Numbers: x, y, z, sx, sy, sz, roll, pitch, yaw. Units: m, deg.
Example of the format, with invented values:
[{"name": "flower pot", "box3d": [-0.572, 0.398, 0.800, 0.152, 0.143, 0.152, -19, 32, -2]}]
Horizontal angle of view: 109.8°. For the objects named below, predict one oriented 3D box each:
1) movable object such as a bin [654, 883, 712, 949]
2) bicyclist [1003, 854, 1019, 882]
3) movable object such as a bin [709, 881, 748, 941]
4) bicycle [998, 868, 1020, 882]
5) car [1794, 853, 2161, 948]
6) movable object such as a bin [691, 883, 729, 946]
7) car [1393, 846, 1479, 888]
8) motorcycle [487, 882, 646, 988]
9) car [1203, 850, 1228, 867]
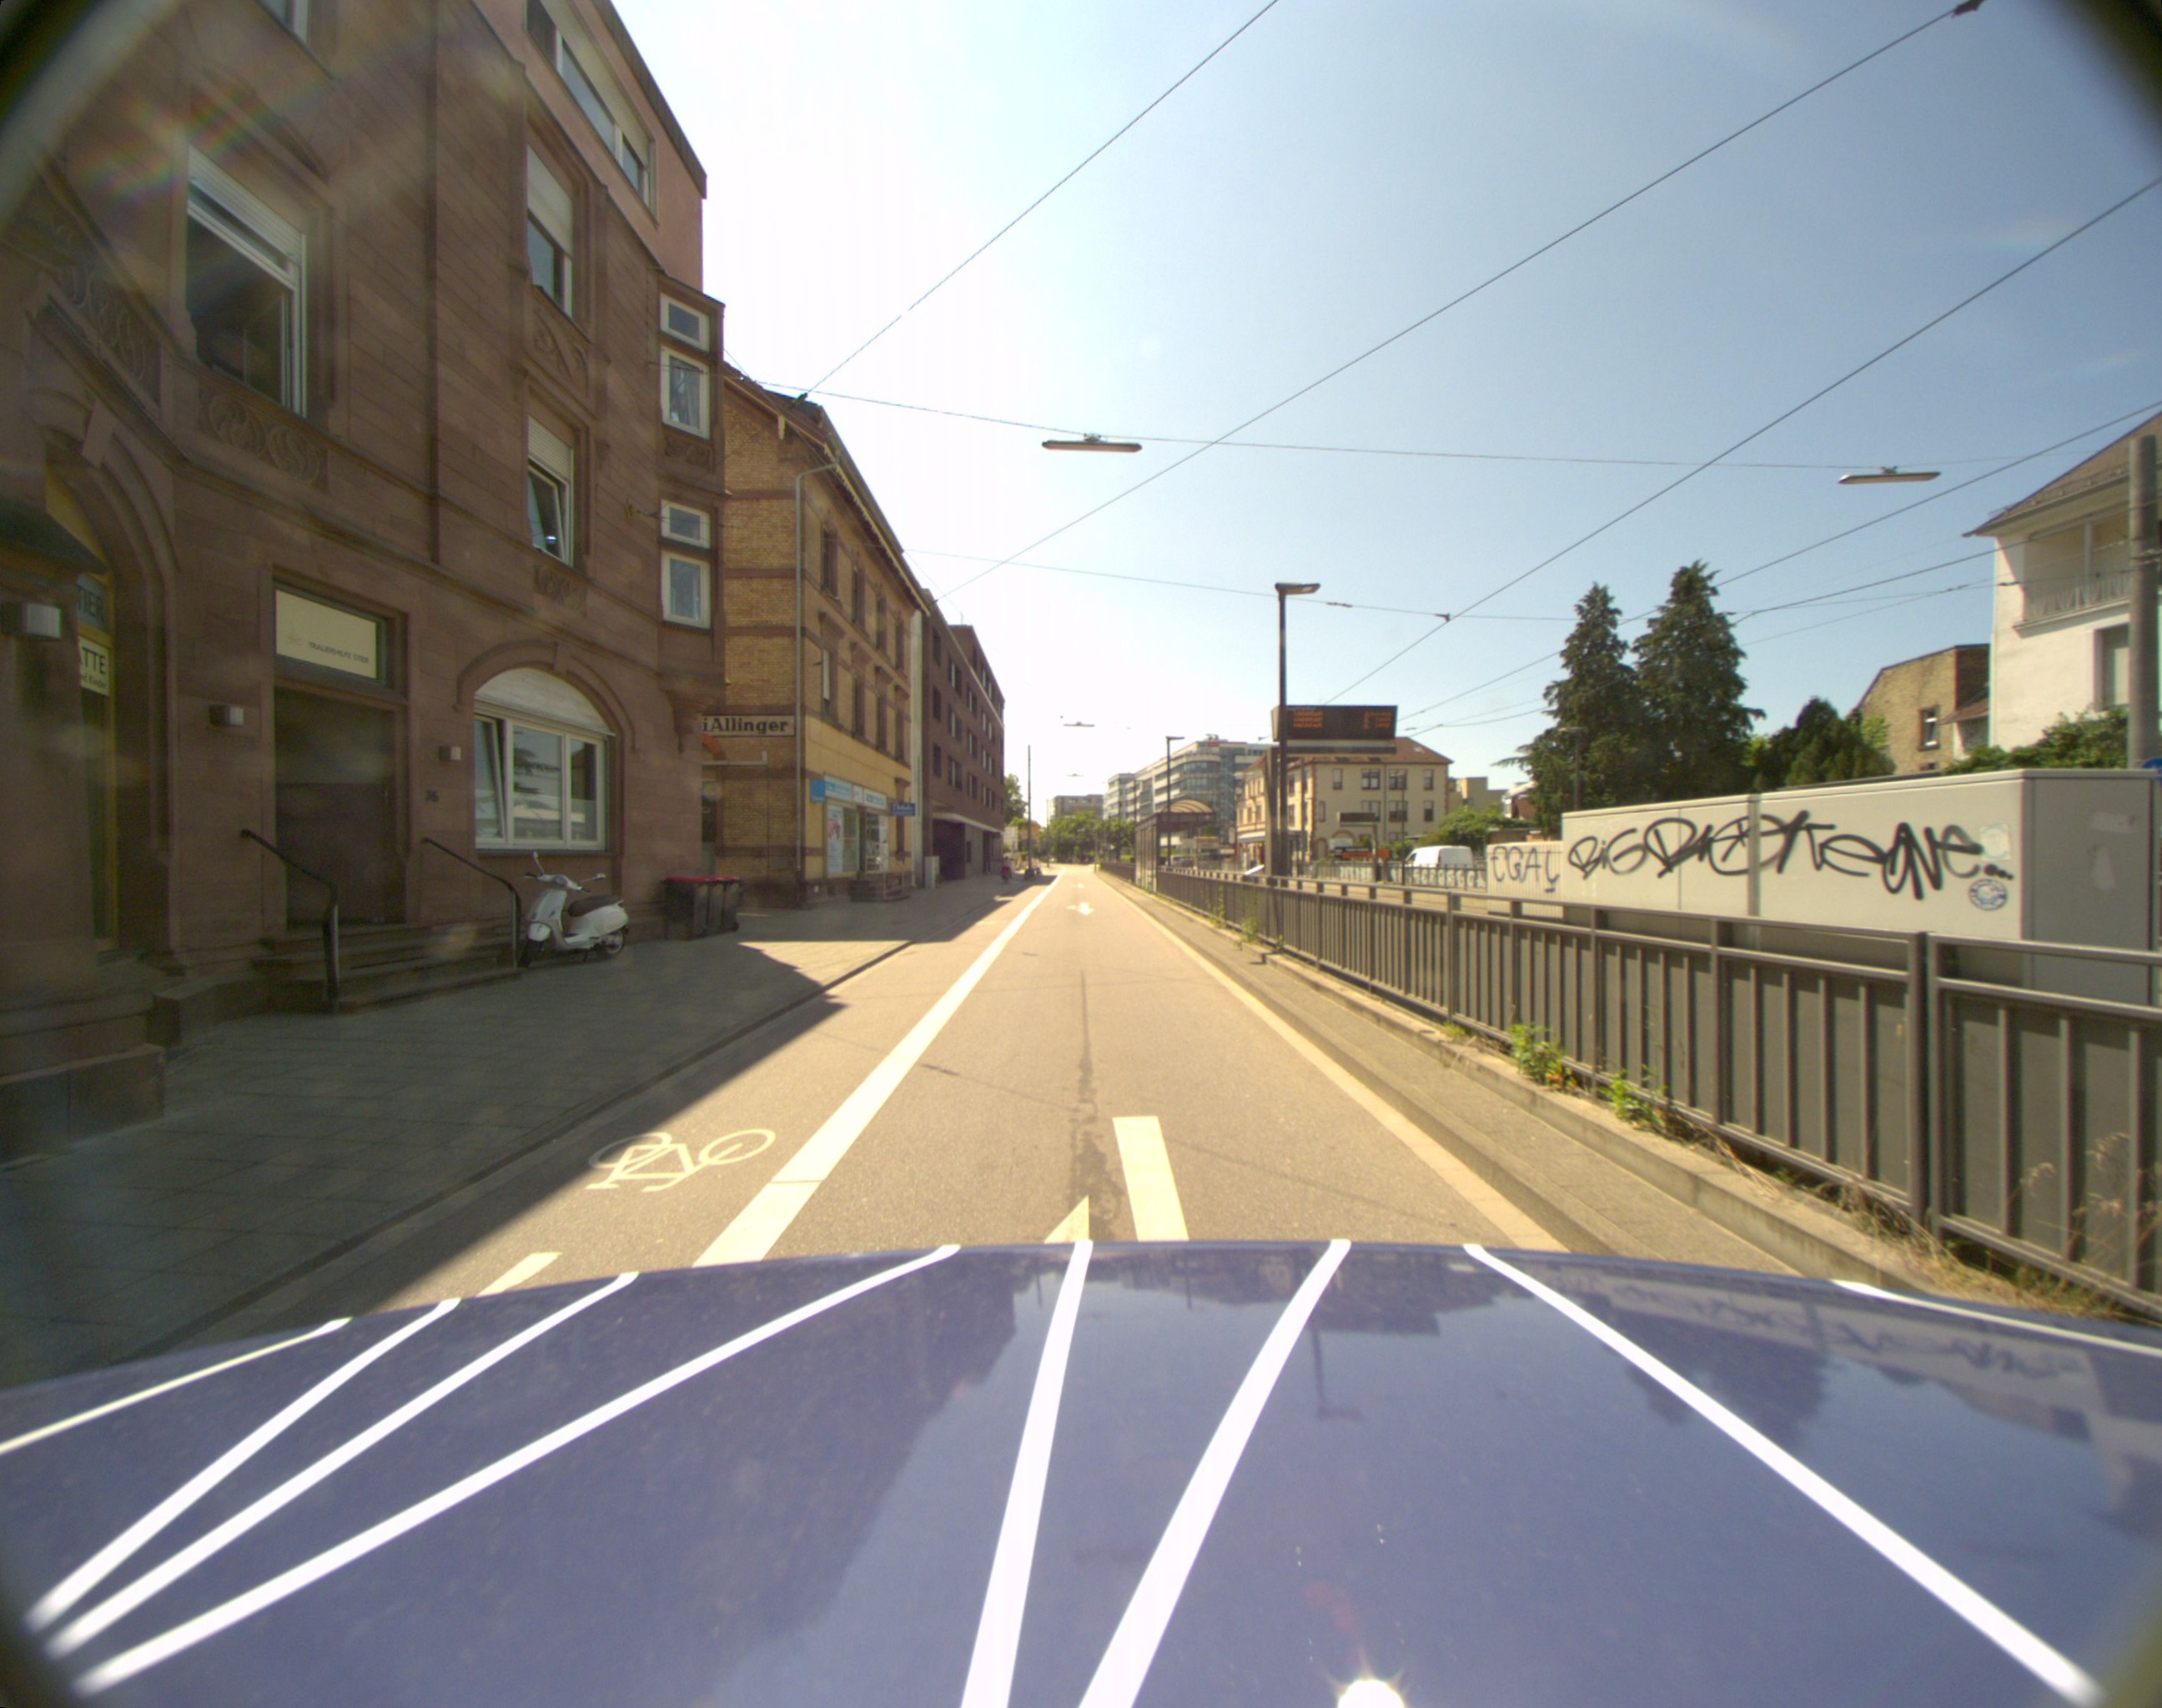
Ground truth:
[{"name": "movable object such as a bin", "box3d": [-6.689, 1.034, 12.799, 0.649, 1.042, 0.559, 2, 0, -1]}, {"name": "bicyclist", "box3d": [-4.332, 0.853, 46.829, 0.670, 1.712, 0.929, 0, 0, 15]}, {"name": "movable object such as a bin", "box3d": [-6.469, 1.041, 13.968, 0.376, 1.042, 0.657, 2, 0, 0]}, {"name": "bicycle", "box3d": [-4.382, 1.307, 46.645, 0.689, 0.793, 1.910, -1, 0, 16]}, {"name": "car", "box3d": [16.385, 0.721, 14.134, 1.823, 1.459, 4.623, 1, 0, -1]}, {"name": "movable object such as a bin", "box3d": [-6.529, 1.051, 13.376, 0.376, 1.042, 0.559, 2, 0, 0]}, {"name": "car", "box3d": [16.393, 0.540, 35.341, 1.860, 1.806, 4.698, 1, 0, 1]}, {"name": "motorcycle", "box3d": [-6.443, 0.965, 9.661, 0.527, 1.142, 1.881, 0, 0, 8]}, {"name": "car", "box3d": [14.674, 0.500, 83.015, 1.999, 1.827, 3.999, -1, 0, -1]}]
